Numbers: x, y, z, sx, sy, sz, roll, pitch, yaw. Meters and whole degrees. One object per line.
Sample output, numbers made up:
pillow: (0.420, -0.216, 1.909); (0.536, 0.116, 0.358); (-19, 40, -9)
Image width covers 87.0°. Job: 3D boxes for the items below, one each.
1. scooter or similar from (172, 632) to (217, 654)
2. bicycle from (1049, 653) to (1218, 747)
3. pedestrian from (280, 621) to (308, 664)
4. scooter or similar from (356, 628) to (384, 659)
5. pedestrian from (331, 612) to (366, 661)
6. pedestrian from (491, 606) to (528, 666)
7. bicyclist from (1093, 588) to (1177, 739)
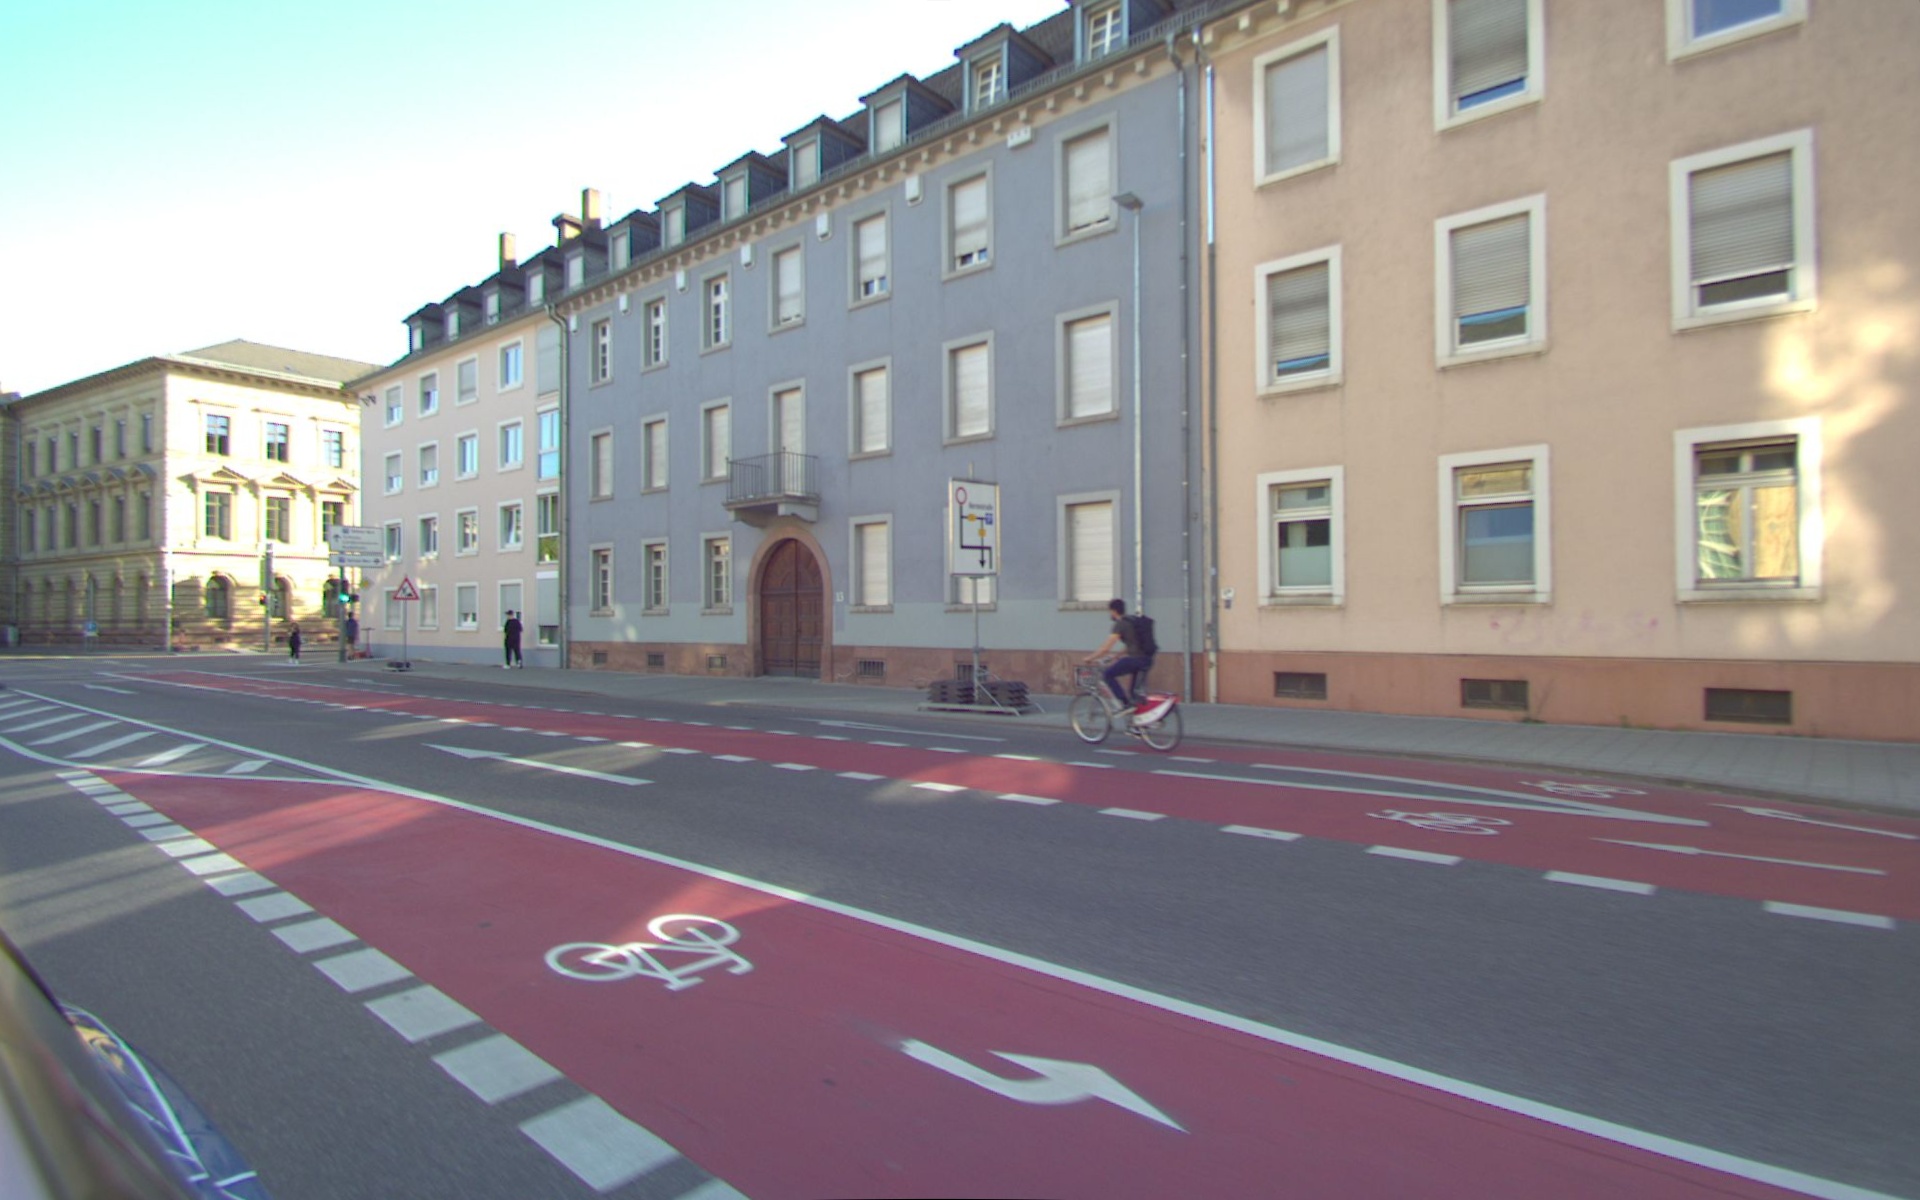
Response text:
scooter or similar: (-43.007, 2.421, 56.885); (1.999, 1.197, 0.457); (0, -2, -30)
bicycle: (2.037, 1.154, 12.166); (0.638, 1.003, 2.113); (2, -3, -39)
pedestrian: (-25.371, 1.616, 38.540); (0.817, 1.595, 0.625); (-1, 1, 39)
scooter or similar: (-23.535, 1.724, 40.365); (1.473, 1.194, 0.528); (-2, -1, 41)
pedestrian: (-23.999, 1.418, 39.698); (1.014, 1.877, 0.859); (-2, 0, 41)
pedestrian: (-14.380, 1.154, 32.310); (1.012, 1.860, 0.625); (-1, 1, 39)
bicyclist: (2.091, 0.755, 12.096); (0.627, 1.723, 0.740); (4, -5, -40)
